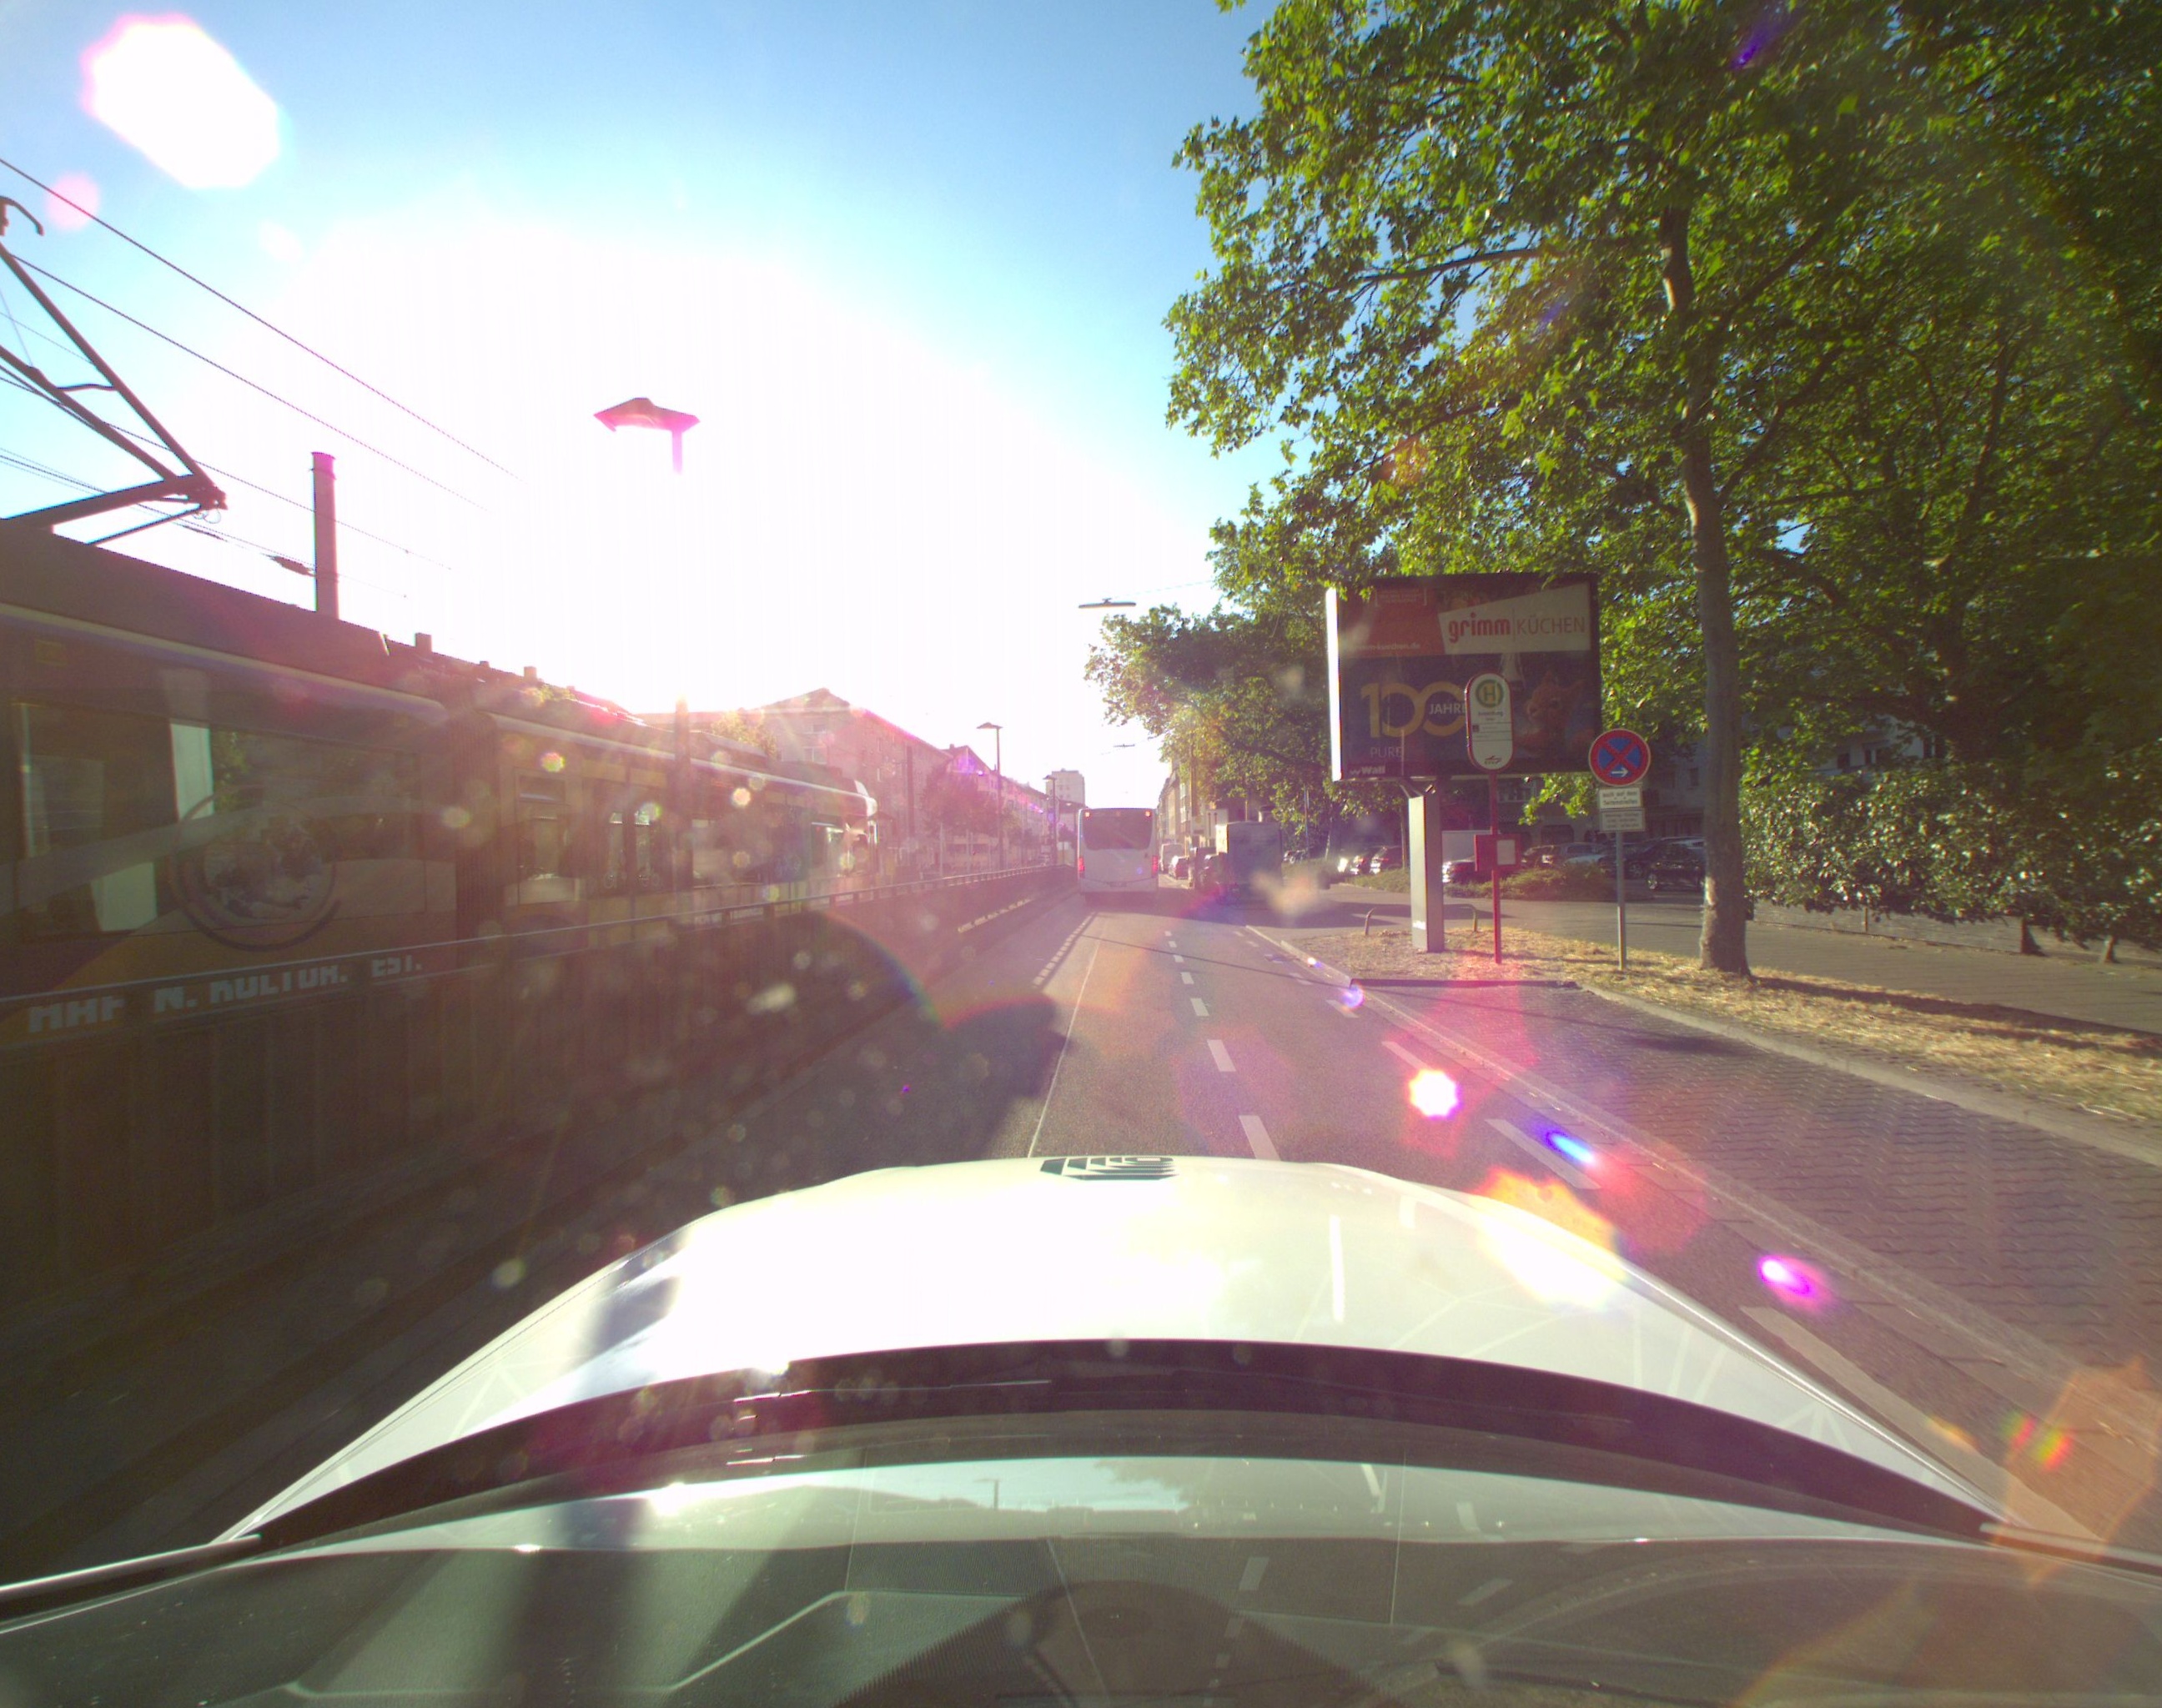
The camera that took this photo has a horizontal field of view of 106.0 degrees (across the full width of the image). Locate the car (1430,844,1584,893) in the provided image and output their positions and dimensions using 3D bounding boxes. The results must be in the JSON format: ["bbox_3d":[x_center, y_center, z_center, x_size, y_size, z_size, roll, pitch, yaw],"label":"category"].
[{"bbox_3d":[13.235,0.451,25.499,3.902,1.336,1.708,-2,-1,4],"label":"car"}]

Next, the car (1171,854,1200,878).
[{"bbox_3d":[7.011,0.805,54.959,1.664,1.463,3.937,-4,-1,4],"label":"car"}]

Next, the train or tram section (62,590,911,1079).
[{"bbox_3d":[-5.804,-0.120,12.654,2.629,3.519,13.346,-2,0,4],"label":"train or tram section"}]

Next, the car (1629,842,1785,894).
[{"bbox_3d":[19.308,0.406,25.380,1.782,1.437,4.244,-1,0,4],"label":"car"}]

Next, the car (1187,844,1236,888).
[{"bbox_3d":[6.160,0.561,38.927,1.839,1.956,4.548,-2,-1,4],"label":"car"}]

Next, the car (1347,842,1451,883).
[{"bbox_3d":[13.929,0.366,35.815,3.904,1.637,1.708,-2,-1,3],"label":"car"}]

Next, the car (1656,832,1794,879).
[{"bbox_3d":[25.312,0.061,32.100,3.878,1.555,1.831,-3,-1,3],"label":"car"}]

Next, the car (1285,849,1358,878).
[{"bbox_3d":[14.594,0.569,49.541,3.904,1.588,1.708,-2,-1,3],"label":"car"}]

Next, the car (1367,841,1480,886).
[{"bbox_3d":[13.943,0.387,33.292,3.904,1.636,1.708,-2,-1,3],"label":"car"}]

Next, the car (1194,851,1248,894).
[{"bbox_3d":[5.594,0.727,32.889,1.693,1.588,3.831,-2,-1,4],"label":"car"}]

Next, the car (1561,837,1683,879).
[{"bbox_3d":[24.789,0.189,37.464,4.259,1.642,1.874,-3,-1,3],"label":"car"}]

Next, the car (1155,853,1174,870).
[{"bbox_3d":[8.473,0.736,82.625,1.722,1.575,3.678,-2,0,4],"label":"car"}]

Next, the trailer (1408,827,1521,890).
[{"bbox_3d":[13.196,0.157,28.197,3.050,2.069,1.881,-1,0,4],"label":"trailer"}]

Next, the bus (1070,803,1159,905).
[{"bbox_3d":[1.399,0.017,30.506,2.721,3.139,10.714,0,0,4],"label":"bus"}]

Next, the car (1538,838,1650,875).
[{"bbox_3d":[25.057,0.108,39.866,4.259,1.642,1.874,-2,0,3],"label":"car"}]

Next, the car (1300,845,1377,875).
[{"bbox_3d":[14.908,0.363,47.288,3.904,1.588,1.708,-2,-1,3],"label":"car"}]

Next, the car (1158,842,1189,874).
[{"bbox_3d":[8.006,0.387,70.889,2.272,2.627,5.314,-2,-1,4],"label":"car"}]

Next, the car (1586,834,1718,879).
[{"bbox_3d":[24.445,0.102,34.978,4.259,1.642,1.874,-3,-1,3],"label":"car"}]

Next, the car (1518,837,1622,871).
[{"bbox_3d":[25.300,0.001,42.255,4.259,1.642,1.874,-2,0,3],"label":"car"}]

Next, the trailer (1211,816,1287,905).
[{"bbox_3d":[5.237,0.205,25.835,1.825,2.557,3.321,-2,0,3],"label":"trailer"}]
